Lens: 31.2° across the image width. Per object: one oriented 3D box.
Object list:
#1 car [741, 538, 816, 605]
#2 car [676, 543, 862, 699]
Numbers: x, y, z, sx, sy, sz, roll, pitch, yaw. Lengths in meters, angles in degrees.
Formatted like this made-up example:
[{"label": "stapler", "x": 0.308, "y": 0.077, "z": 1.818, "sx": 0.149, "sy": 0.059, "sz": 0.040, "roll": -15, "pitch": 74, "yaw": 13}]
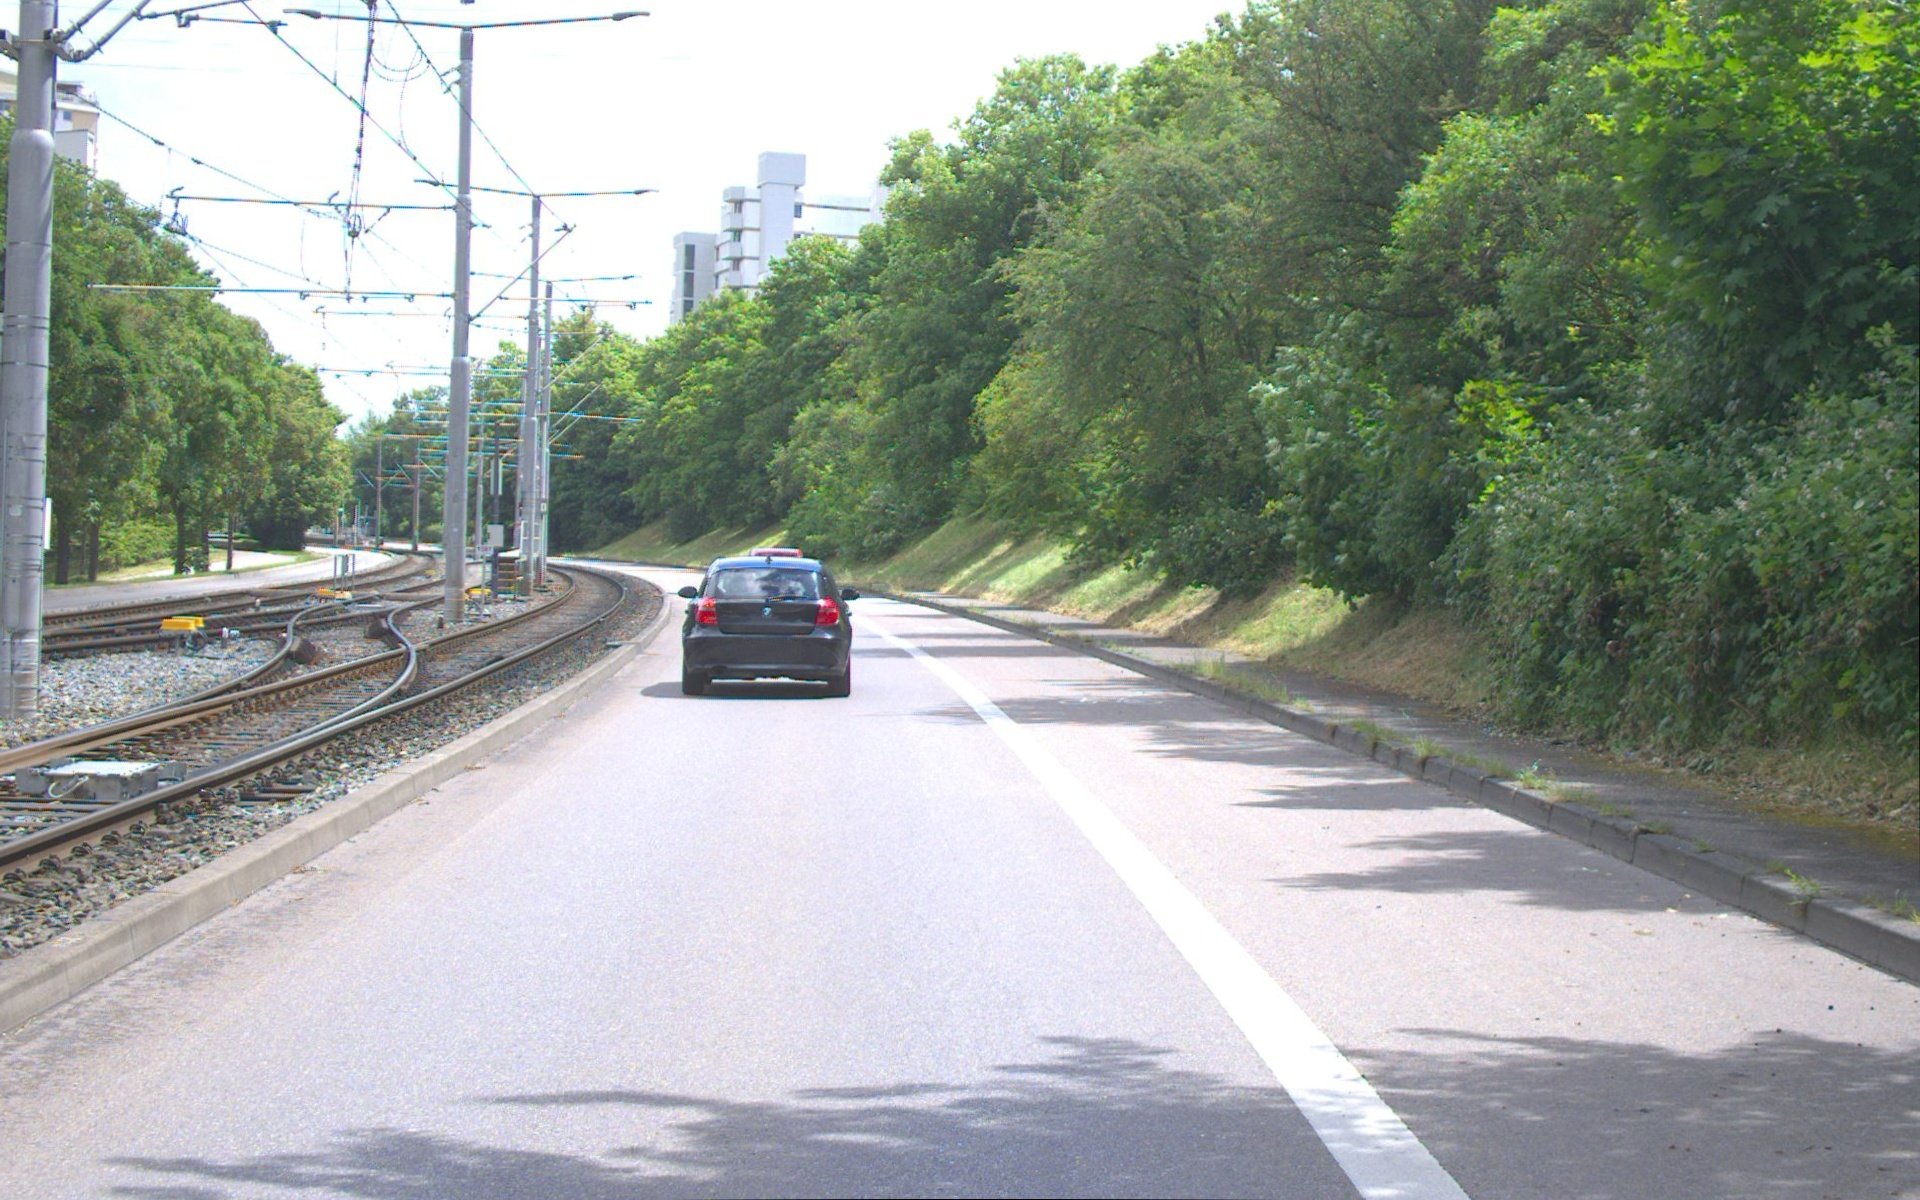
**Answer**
[{"label": "car", "x": -4.179, "y": -0.669, "z": 79.256, "sx": 1.624, "sy": 1.438, "sz": 3.422, "roll": 3, "pitch": 1, "yaw": -3}, {"label": "car", "x": -1.949, "y": 0.202, "z": 36.070, "sx": 1.708, "sy": 1.455, "sz": 3.960, "roll": 3, "pitch": 0, "yaw": -1}]
